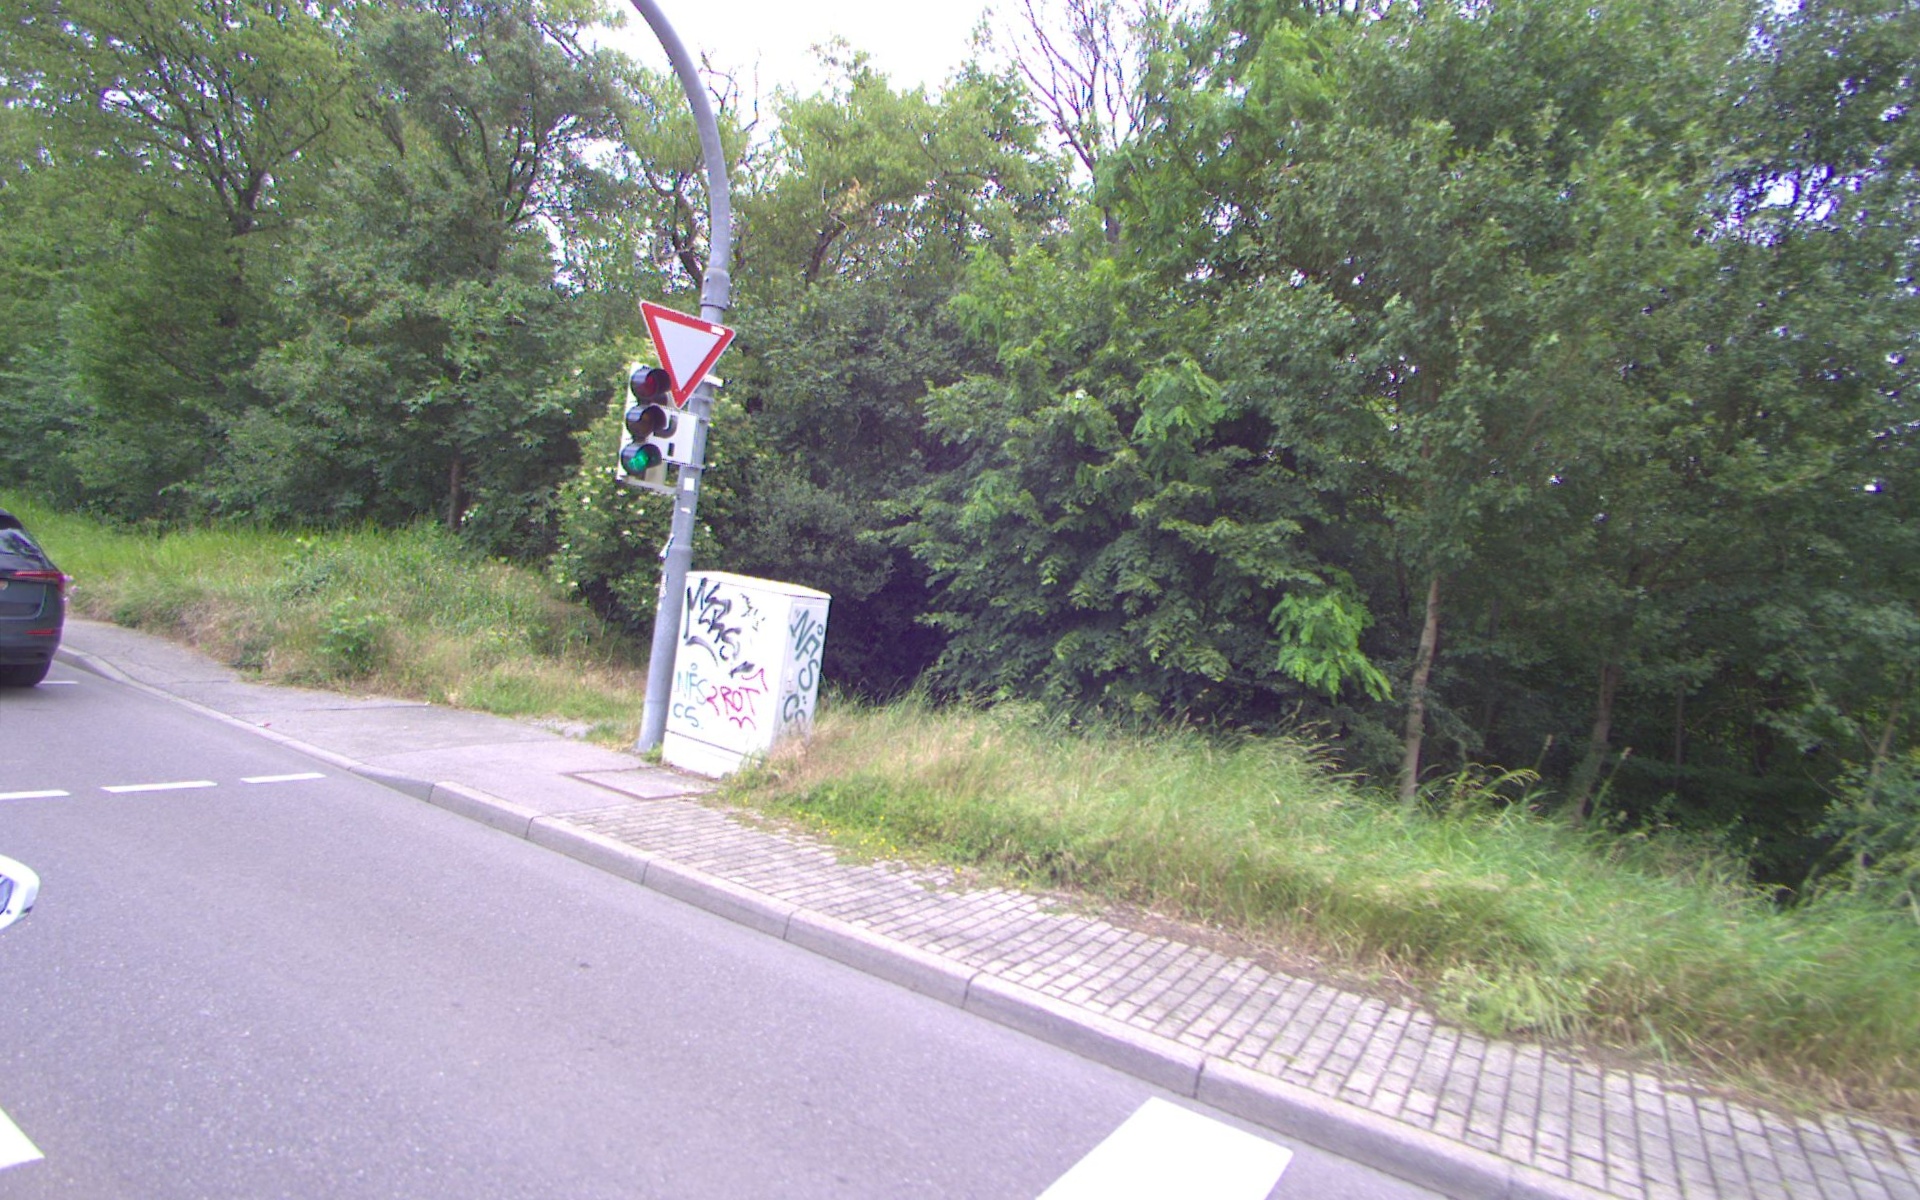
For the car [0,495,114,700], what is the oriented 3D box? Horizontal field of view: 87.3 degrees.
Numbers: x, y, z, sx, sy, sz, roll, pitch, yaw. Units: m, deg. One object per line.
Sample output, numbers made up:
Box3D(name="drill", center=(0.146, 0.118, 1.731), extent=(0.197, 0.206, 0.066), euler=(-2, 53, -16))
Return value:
Box3D(name="car", center=(-8.760, -0.246, 7.926), extent=(3.931, 1.468, 1.797), euler=(7, -1, 29))
